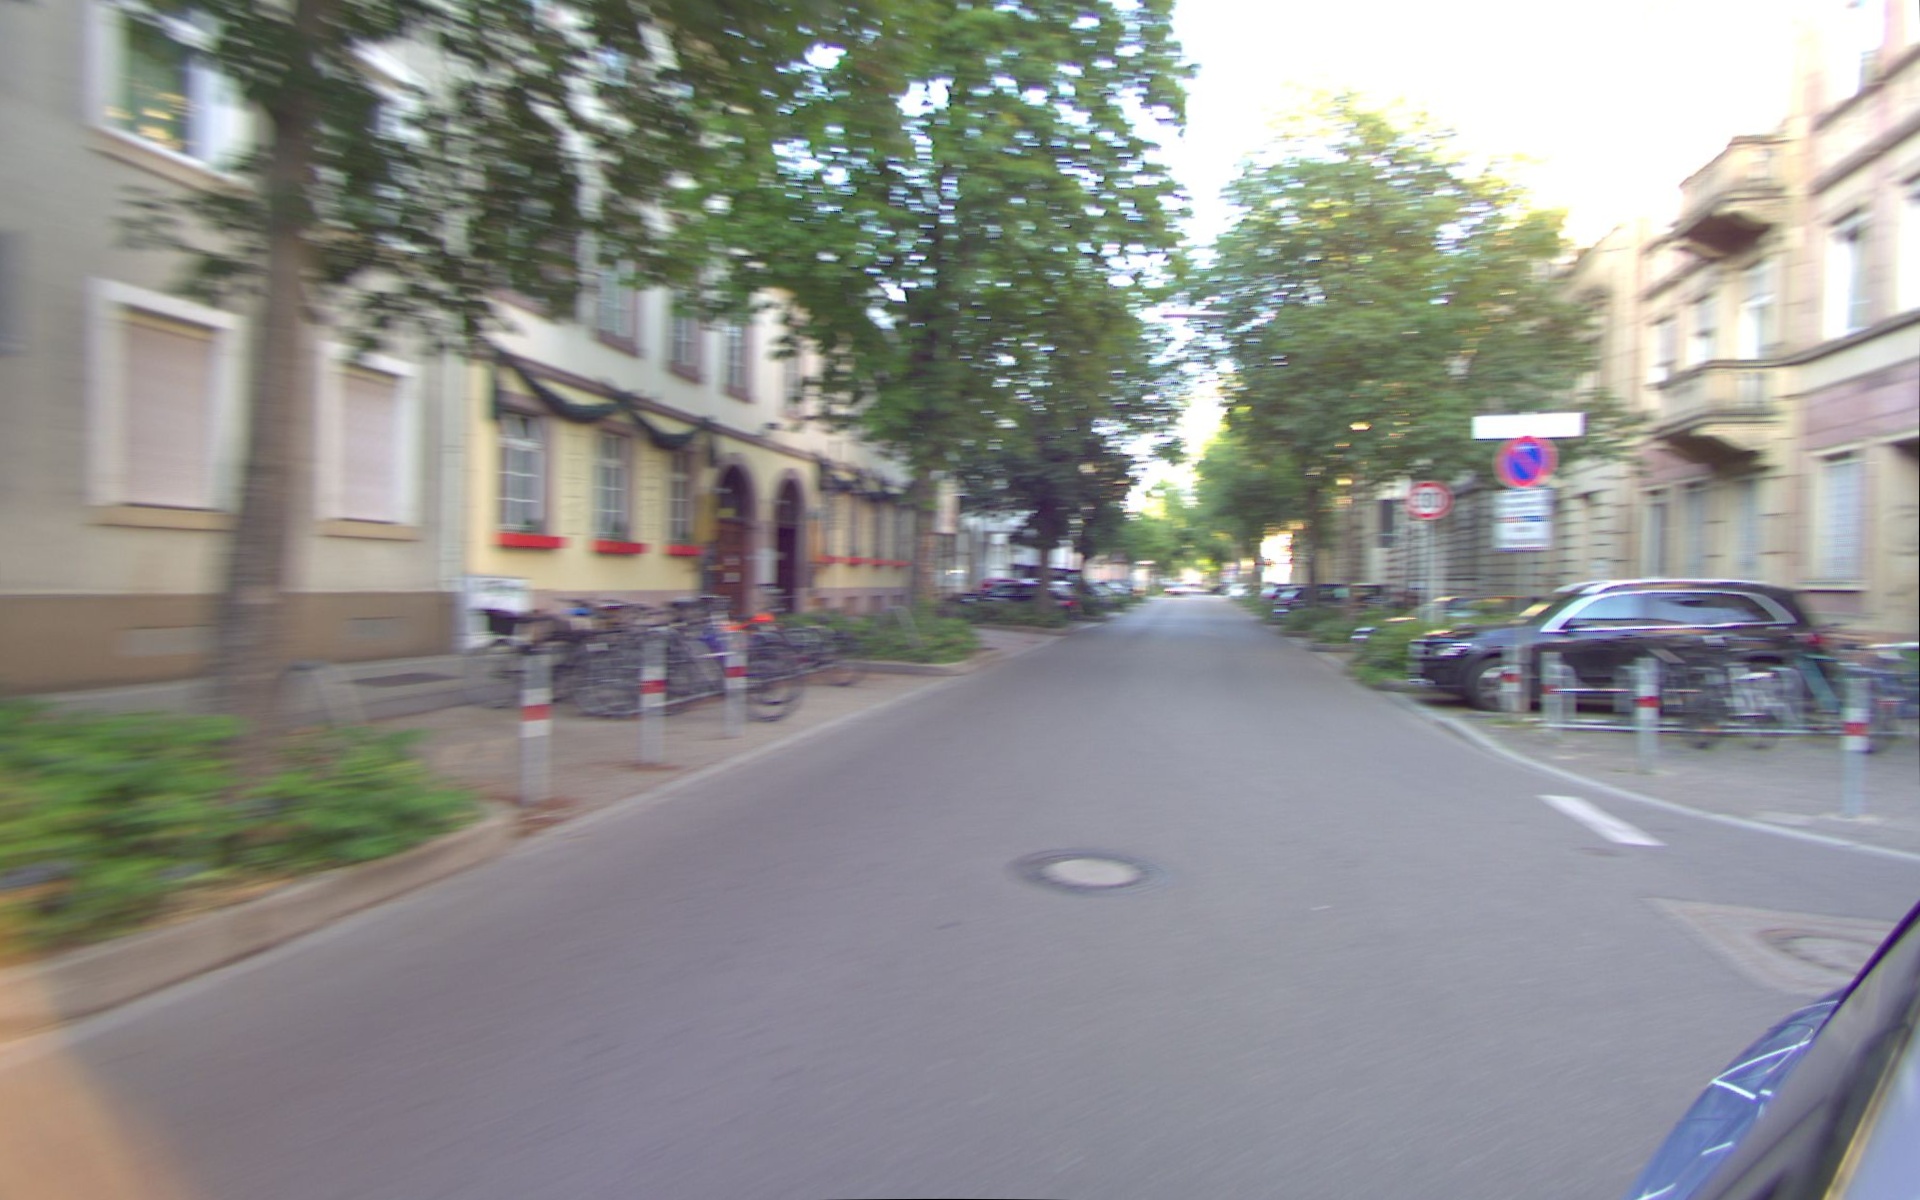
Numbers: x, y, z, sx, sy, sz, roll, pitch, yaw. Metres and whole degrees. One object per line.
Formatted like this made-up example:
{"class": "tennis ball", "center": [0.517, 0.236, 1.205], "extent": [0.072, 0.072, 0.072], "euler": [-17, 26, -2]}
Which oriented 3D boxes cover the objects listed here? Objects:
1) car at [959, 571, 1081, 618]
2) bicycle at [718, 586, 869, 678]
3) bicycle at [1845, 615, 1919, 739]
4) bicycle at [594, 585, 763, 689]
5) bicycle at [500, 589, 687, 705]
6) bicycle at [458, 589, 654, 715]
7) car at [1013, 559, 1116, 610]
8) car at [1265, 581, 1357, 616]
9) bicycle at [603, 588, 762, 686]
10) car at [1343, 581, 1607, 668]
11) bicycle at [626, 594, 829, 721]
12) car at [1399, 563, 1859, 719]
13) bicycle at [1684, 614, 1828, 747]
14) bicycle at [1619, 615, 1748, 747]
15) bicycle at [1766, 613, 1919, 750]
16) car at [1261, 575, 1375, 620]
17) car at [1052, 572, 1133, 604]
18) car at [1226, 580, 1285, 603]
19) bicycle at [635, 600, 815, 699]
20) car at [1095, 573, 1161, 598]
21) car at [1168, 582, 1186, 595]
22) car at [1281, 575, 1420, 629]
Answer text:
{"class": "car", "center": [2.299, -0.225, 38.608], "extent": [4.382, 1.633, 1.769], "euler": [2, 1, 15]}
{"class": "bicycle", "center": [-2.267, 0.418, 13.773], "extent": [2.011, 1.160, 0.420], "euler": [2, 1, 13]}
{"class": "bicycle", "center": [9.183, 0.740, 9.586], "extent": [0.359, 1.102, 1.863], "euler": [0, 2, 13]}
{"class": "bicycle", "center": [-3.408, 0.429, 12.252], "extent": [2.011, 1.160, 0.420], "euler": [2, 1, 13]}
{"class": "bicycle", "center": [-4.029, 0.489, 11.114], "extent": [2.011, 1.160, 0.420], "euler": [2, 1, 13]}
{"class": "bicycle", "center": [-4.111, 0.495, 10.268], "extent": [2.015, 1.160, 0.444], "euler": [2, 1, 17]}
{"class": "car", "center": [4.717, -0.714, 45.455], "extent": [4.382, 2.149, 1.769], "euler": [2, 1, 15]}
{"class": "car", "center": [16.735, -0.102, 48.475], "extent": [3.975, 1.501, 1.769], "euler": [2, 1, 15]}
{"class": "bicycle", "center": [-3.575, 0.461, 13.045], "extent": [2.011, 1.160, 0.420], "euler": [2, 1, 13]}
{"class": "car", "center": [10.111, 0.432, 20.240], "extent": [4.382, 1.506, 1.769], "euler": [2, 1, 15]}
{"class": "bicycle", "center": [-2.357, 0.557, 10.235], "extent": [2.012, 1.160, 0.444], "euler": [2, 1, 15]}
{"class": "car", "center": [8.205, 0.433, 12.921], "extent": [4.525, 1.759, 1.769], "euler": [0, 2, 15]}
{"class": "bicycle", "center": [7.863, 0.741, 10.086], "extent": [0.359, 1.102, 1.863], "euler": [0, 2, 13]}
{"class": "bicycle", "center": [7.191, 0.751, 10.146], "extent": [0.359, 1.102, 1.863], "euler": [0, 2, 13]}
{"class": "bicycle", "center": [8.488, 0.724, 9.755], "extent": [0.359, 1.102, 1.863], "euler": [0, 2, 13]}
{"class": "car", "center": [15.148, -0.147, 43.025], "extent": [4.382, 1.760, 1.769], "euler": [2, 1, 15]}
{"class": "car", "center": [7.578, -0.697, 57.673], "extent": [4.382, 1.633, 1.769], "euler": [2, 1, 15]}
{"class": "car", "center": [23.460, -0.709, 80.520], "extent": [4.382, 1.668, 1.769], "euler": [2, 1, 15]}
{"class": "bicycle", "center": [-2.687, 0.542, 11.567], "extent": [2.011, 1.016, 0.420], "euler": [2, 1, 13]}
{"class": "car", "center": [11.765, -1.001, 70.801], "extent": [4.382, 1.633, 1.769], "euler": [2, 1, 15]}
{"class": "car", "center": [23.759, -1.250, 110.652], "extent": [1.801, 1.389, 3.985], "euler": [2, 1, 13]}
{"class": "car", "center": [13.853, 0.036, 36.137], "extent": [4.382, 1.760, 1.769], "euler": [2, 1, 15]}
